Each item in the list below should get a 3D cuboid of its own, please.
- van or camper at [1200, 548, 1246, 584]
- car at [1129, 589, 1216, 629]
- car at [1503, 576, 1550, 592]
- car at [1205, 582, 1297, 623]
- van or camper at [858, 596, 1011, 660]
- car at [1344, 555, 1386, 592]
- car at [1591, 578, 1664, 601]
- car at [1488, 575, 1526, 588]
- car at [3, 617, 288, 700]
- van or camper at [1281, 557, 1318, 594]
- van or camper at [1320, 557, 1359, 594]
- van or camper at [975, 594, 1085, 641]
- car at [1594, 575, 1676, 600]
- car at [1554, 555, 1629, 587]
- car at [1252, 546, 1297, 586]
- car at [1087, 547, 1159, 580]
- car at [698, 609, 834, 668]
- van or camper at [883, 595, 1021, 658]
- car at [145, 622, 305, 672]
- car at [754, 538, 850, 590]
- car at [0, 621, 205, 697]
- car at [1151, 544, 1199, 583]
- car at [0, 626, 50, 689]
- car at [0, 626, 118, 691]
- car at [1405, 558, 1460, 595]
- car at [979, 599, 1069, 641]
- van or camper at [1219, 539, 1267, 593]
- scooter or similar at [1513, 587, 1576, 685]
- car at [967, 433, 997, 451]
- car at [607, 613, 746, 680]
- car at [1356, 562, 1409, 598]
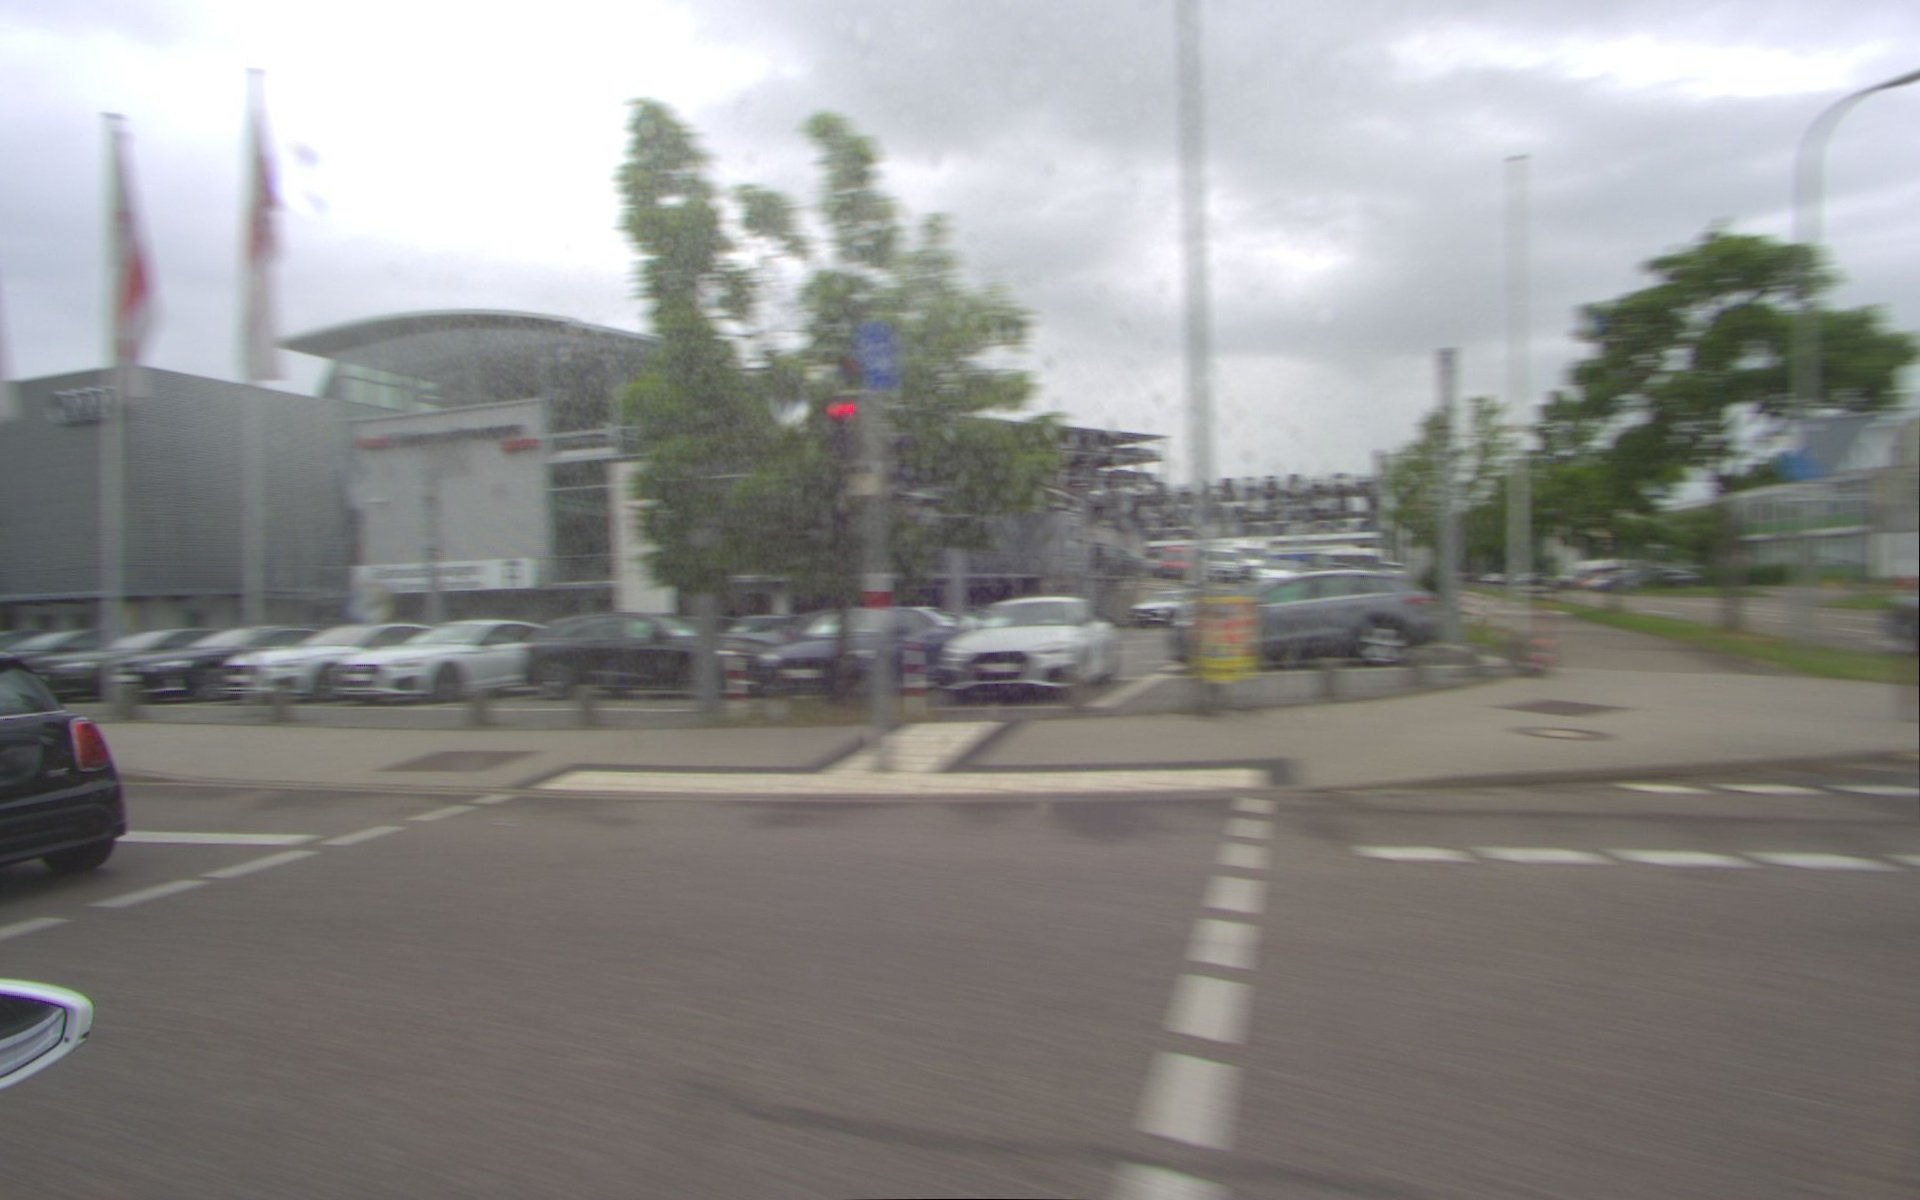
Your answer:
[{"bbox_3d":[13.082,-1.661,49.652,1.964,1.673,3.992,1,1,18],"label":"van or camper"},{"bbox_3d":[9.690,0.409,45.492,1.901,1.680,4.409,-2,-1,42],"label":"car"},{"bbox_3d":[73.967,-2.077,130.807,5.101,2.041,2.138,1,1,22],"label":"car"},{"bbox_3d":[12.828,0.120,44.004,4.400,1.680,1.905,-1,-1,-43],"label":"car"},{"bbox_3d":[-0.710,0.744,28.594,3.929,1.700,1.996,1,1,19],"label":"van or camper"},{"bbox_3d":[23.406,-1.512,57.973,1.964,2.041,3.992,1,1,19],"label":"car"},{"bbox_3d":[56.142,-0.878,84.298,4.717,1.916,2.138,1,1,21],"label":"car"},{"bbox_3d":[82.752,-2.817,151.516,4.717,1.916,2.138,1,1,21],"label":"car"},{"bbox_3d":[-16.422,1.154,20.493,1.875,1.505,4.185,-1,-2,18],"label":"car"},{"bbox_3d":[19.992,-1.413,59.014,1.964,2.041,3.992,1,1,19],"label":"van or camper"},{"bbox_3d":[22.059,-1.393,58.337,1.964,2.041,3.992,1,1,19],"label":"van or camper"},{"bbox_3d":[2.716,0.642,38.893,3.929,1.734,1.843,1,1,19],"label":"van or camper"},{"bbox_3d":[54.764,-1.008,81.350,5.100,2.041,2.138,1,1,21],"label":"car"},{"bbox_3d":[64.137,-2.928,101.817,6.031,3.158,2.129,1,1,22],"label":"car"},{"bbox_3d":[15.367,-1.610,48.812,1.964,1.847,3.992,1,1,19],"label":"car"},{"bbox_3d":[9.537,-2.128,58.612,3.930,1.862,1.756,1,1,20],"label":"car"},{"bbox_3d":[-5.391,1.080,28.471,1.894,1.505,4.257,1,-2,19],"label":"car"},{"bbox_3d":[-0.236,0.793,31.392,3.929,1.840,1.843,1,1,19],"label":"van or camper"},{"bbox_3d":[-25.589,1.584,35.045,1.709,1.506,4.345,1,0,18],"label":"car"},{"bbox_3d":[-5.559,-1.232,35.649,1.792,1.684,3.993,1,1,17],"label":"car"},{"bbox_3d":[-19.082,1.222,21.454,1.861,1.489,4.374,-1,-2,18],"label":"car"},{"bbox_3d":[10.947,-1.803,50.821,1.964,1.873,3.992,1,1,19],"label":"car"},{"bbox_3d":[-24.219,1.350,22.987,1.815,1.491,4.658,0,-2,18],"label":"car"},{"bbox_3d":[-21.673,1.299,22.260,1.869,1.408,4.162,-1,-2,19],"label":"car"},{"bbox_3d":[22.059,-1.046,46.843,1.965,1.639,3.991,1,1,20],"label":"car"},{"bbox_3d":[3.047,0.915,47.385,3.927,1.862,1.757,1,1,17],"label":"car"},{"bbox_3d":[16.993,-1.994,59.967,2.499,3.067,4.834,1,1,19],"label":"van or camper"},{"bbox_3d":[8.017,0.458,13.719,0.551,1.236,1.549,3,3,36],"label":"scooter or similar"},{"bbox_3d":[2.830,-20.484,130.028,1.974,1.690,3.971,-1,1,-35],"label":"car"},{"bbox_3d":[-8.149,1.281,29.227,1.778,1.718,4.310,1,1,19],"label":"car"},{"bbox_3d":[19.887,-0.921,47.231,1.964,1.639,3.992,1,1,19],"label":"car"}]
